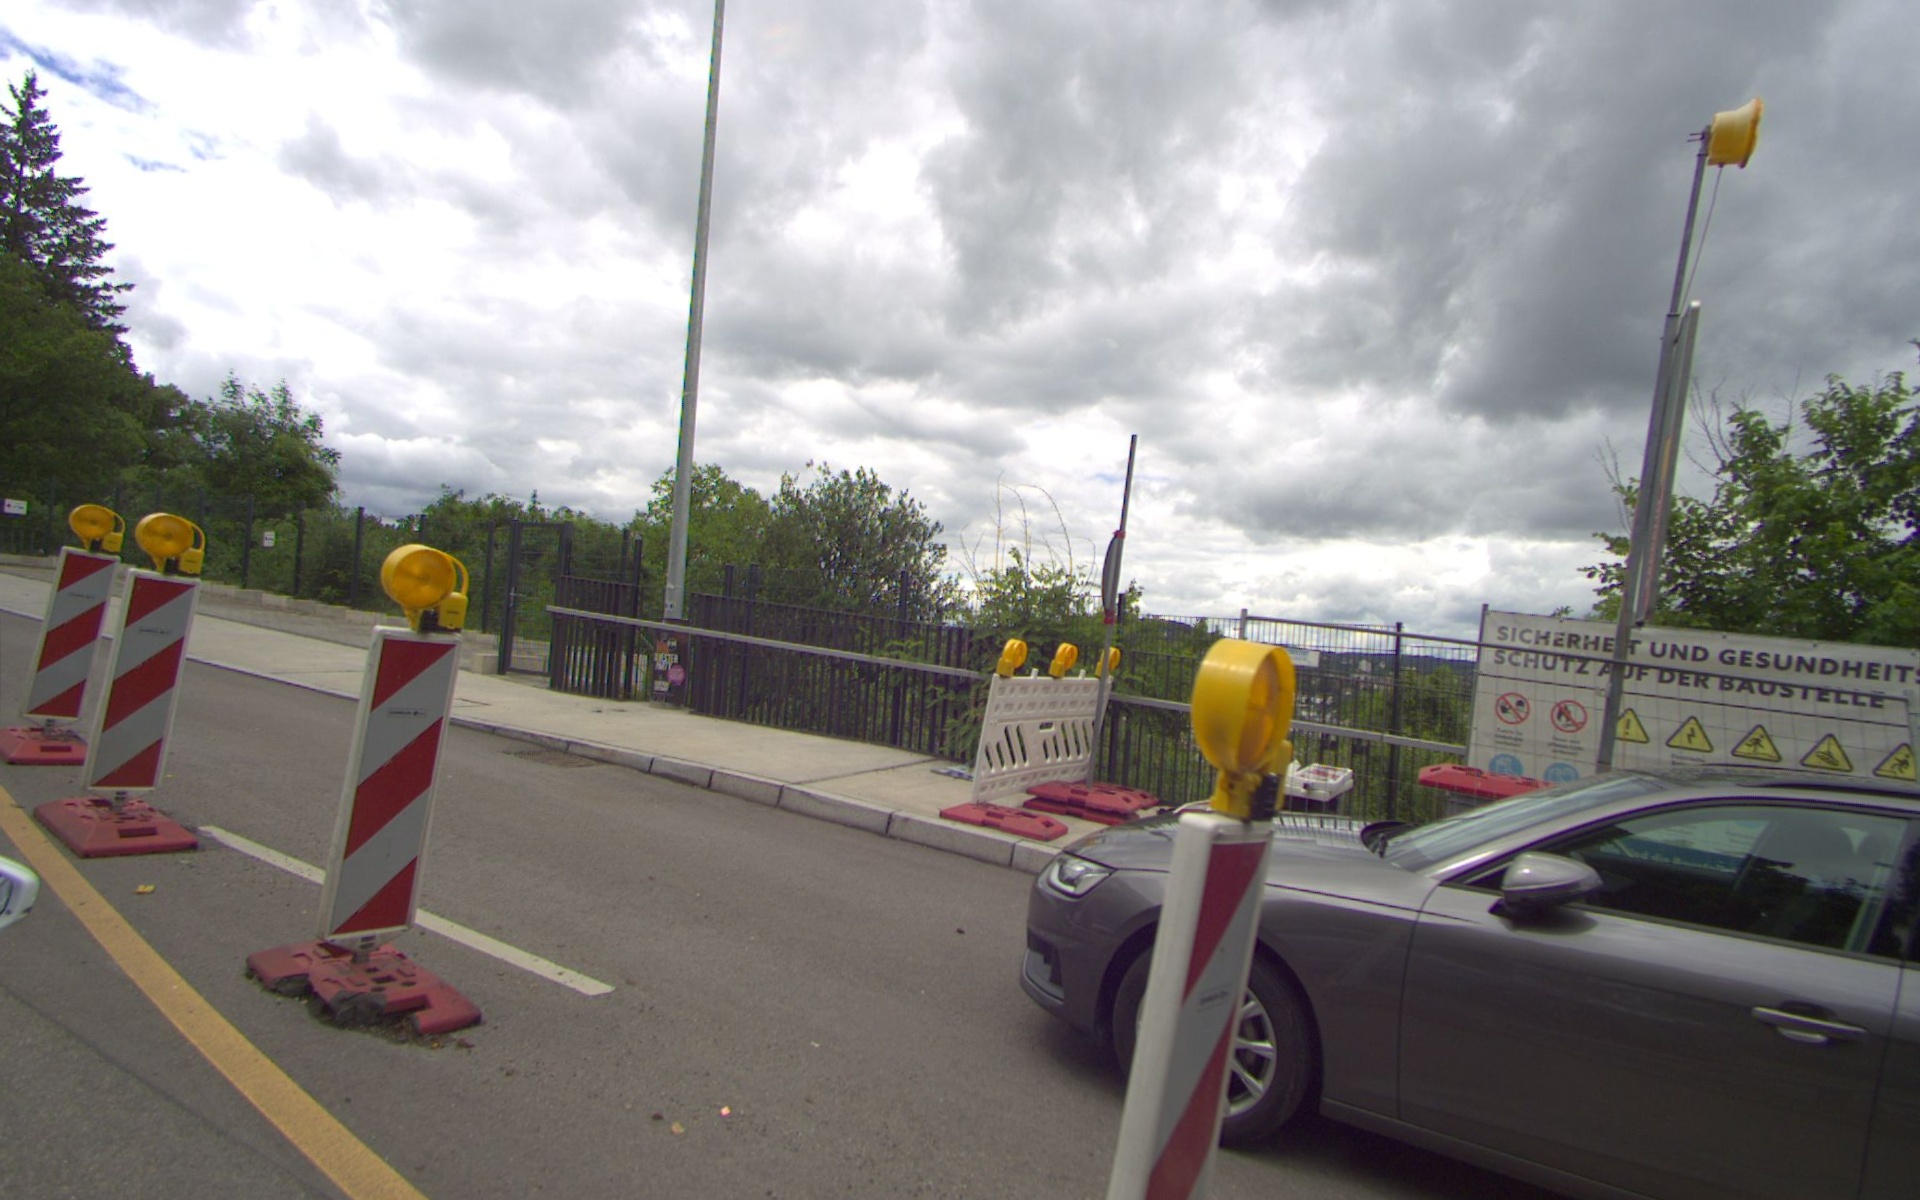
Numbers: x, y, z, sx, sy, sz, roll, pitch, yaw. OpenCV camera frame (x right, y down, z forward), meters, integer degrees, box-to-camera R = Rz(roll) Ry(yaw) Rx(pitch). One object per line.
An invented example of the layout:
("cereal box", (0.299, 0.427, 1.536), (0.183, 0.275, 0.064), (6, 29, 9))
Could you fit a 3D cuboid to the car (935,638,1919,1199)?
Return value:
("car", (2.410, 1.193, 3.351), (4.548, 1.472, 1.845), (7, -2, 29))
